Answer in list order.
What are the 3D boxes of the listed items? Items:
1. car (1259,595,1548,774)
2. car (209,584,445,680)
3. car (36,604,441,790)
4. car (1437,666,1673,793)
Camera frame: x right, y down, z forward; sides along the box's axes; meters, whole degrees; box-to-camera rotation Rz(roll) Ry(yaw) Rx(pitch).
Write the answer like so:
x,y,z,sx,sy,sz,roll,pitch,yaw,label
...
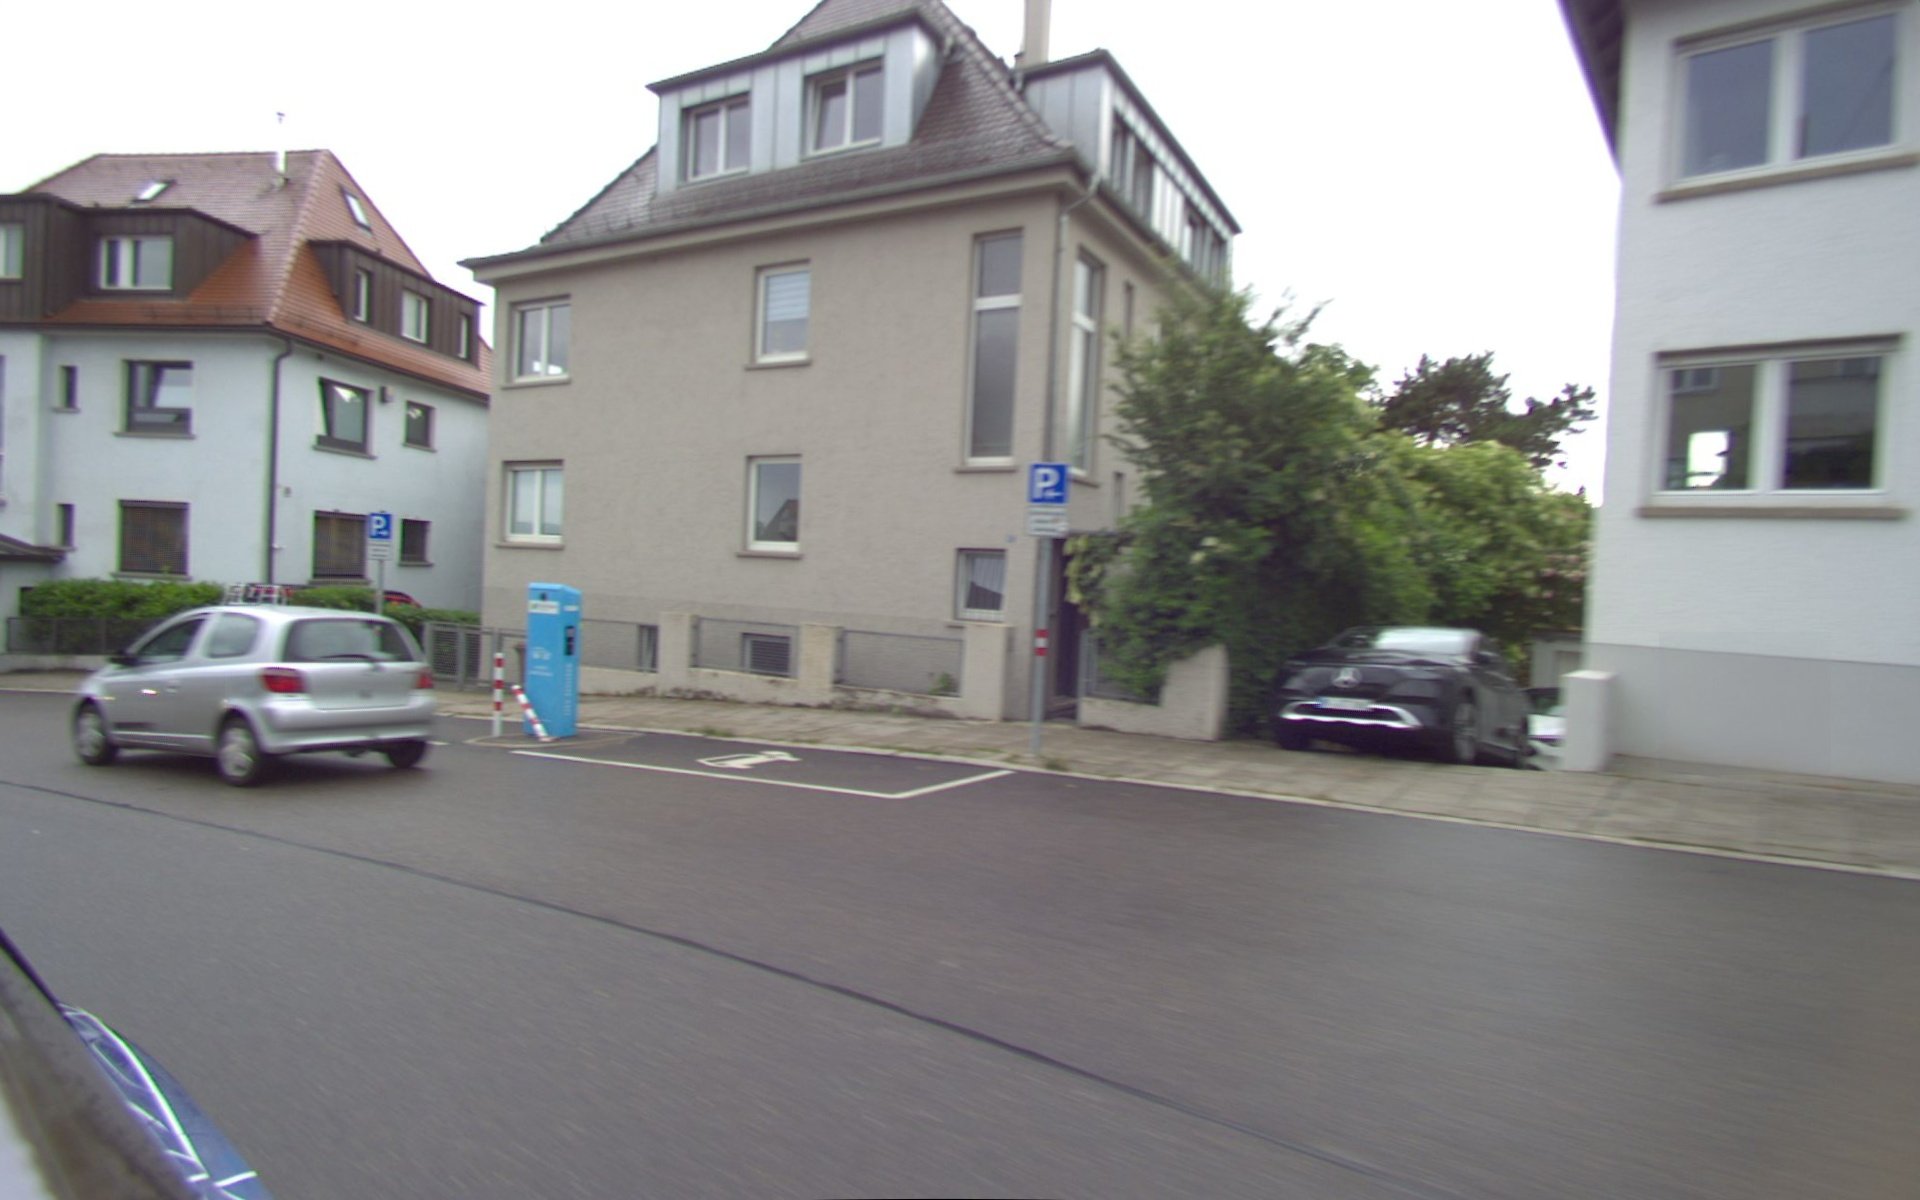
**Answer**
x,y,z,sx,sy,sz,roll,pitch,yaw,label
5.195,0.764,11.525,1.998,1.636,4.198,0,0,39,car
-13.165,0.724,21.378,1.980,1.837,3.983,-1,-3,13,car
-6.782,0.763,9.458,3.837,1.434,1.478,0,0,27,car
8.981,1.967,15.153,3.876,1.364,1.861,14,-11,-39,car
